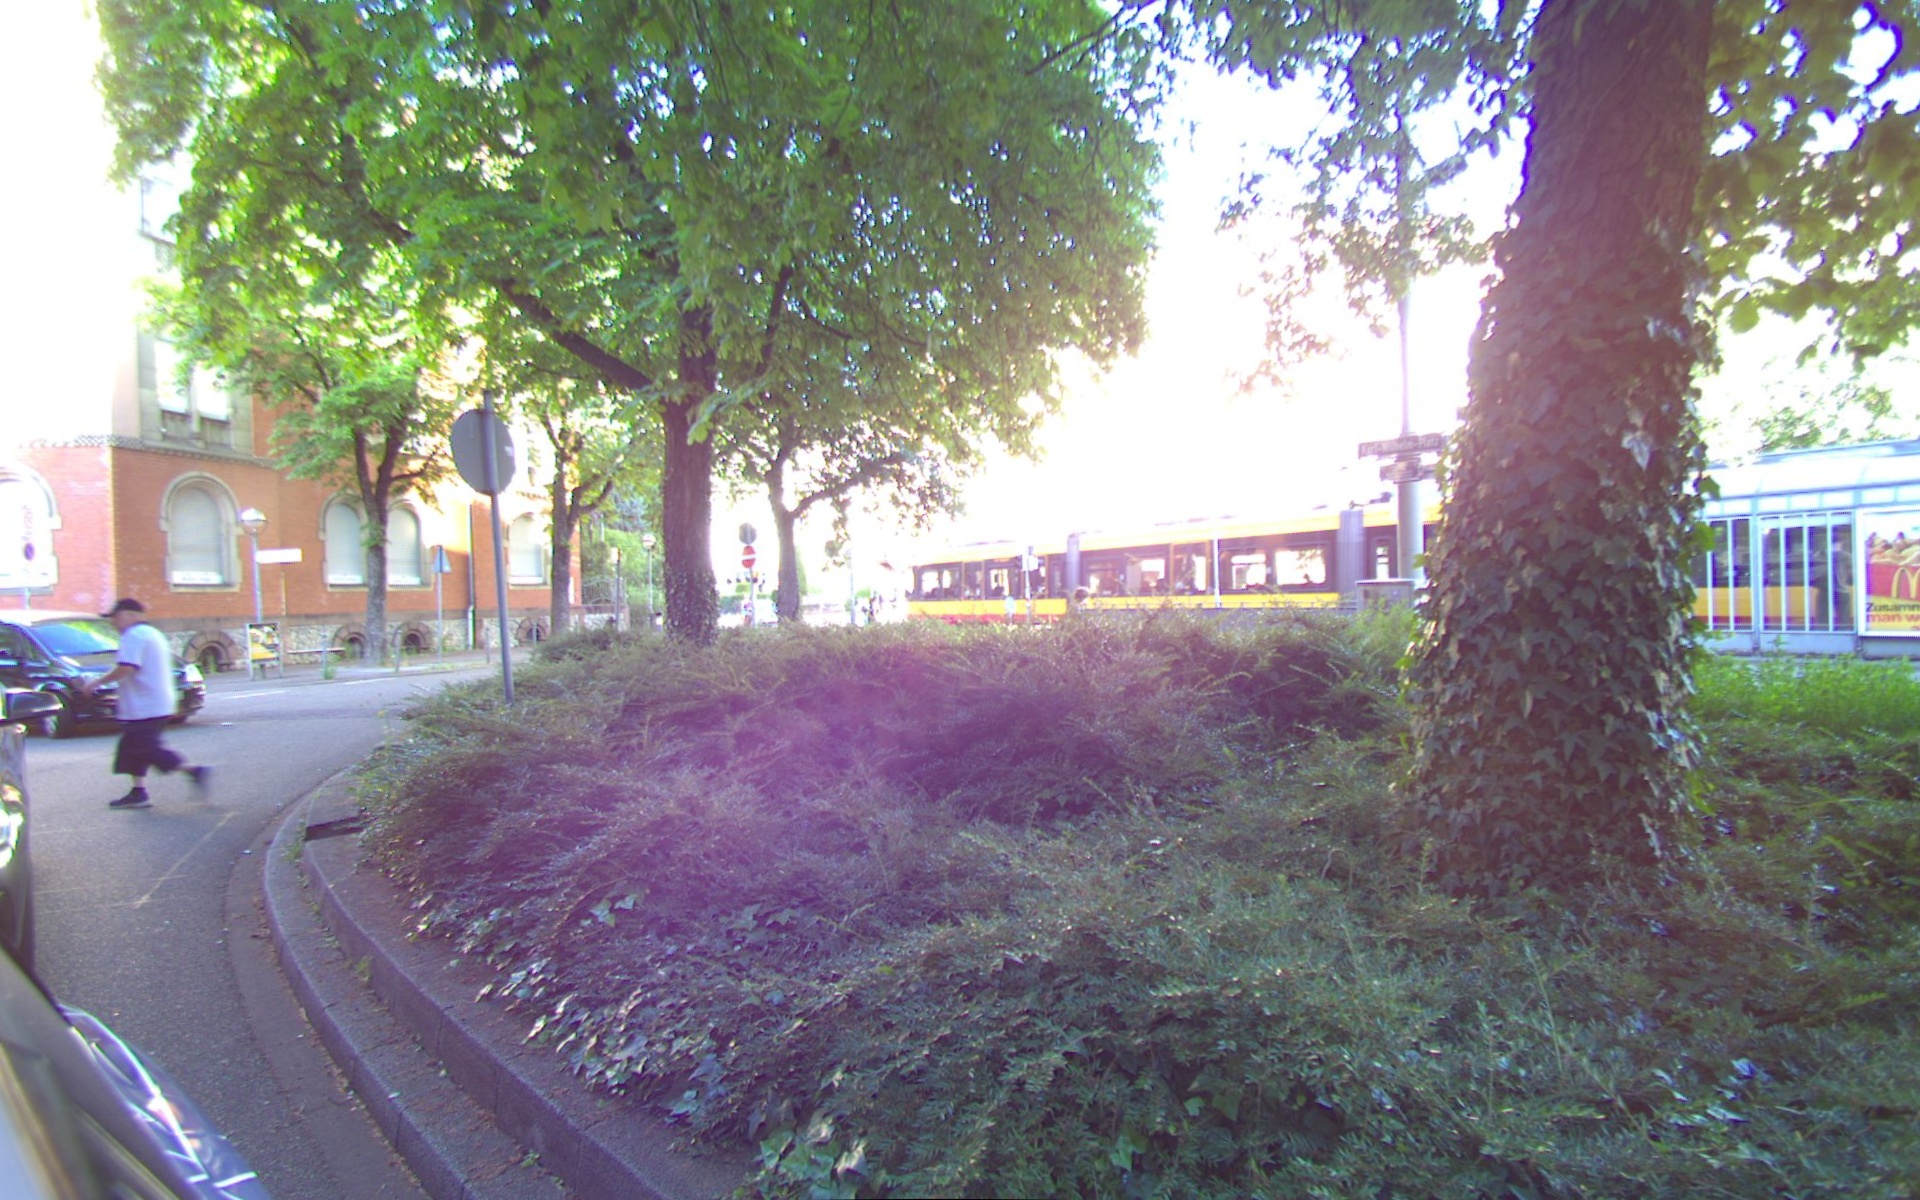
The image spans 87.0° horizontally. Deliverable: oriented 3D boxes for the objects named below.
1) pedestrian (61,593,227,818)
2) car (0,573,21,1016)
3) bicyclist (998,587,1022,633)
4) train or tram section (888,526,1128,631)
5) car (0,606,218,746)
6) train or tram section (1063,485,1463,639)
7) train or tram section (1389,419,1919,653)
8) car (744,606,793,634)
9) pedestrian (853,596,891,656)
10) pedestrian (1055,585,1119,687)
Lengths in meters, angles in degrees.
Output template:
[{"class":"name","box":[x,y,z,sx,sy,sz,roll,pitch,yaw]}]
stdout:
[{"class":"pedestrian","box":[-6.309,0.761,7.832,0.930,1.604,0.643,-2,0,-42]},{"class":"car","box":[-5.515,0.750,4.611,1.768,1.590,4.264,-1,-1,-43]},{"class":"bicyclist","box":[1.760,0.345,35.832,0.588,1.585,0.557,-2,0,-30]},{"class":"train or tram section","box":[1.369,-0.687,40.371,2.727,3.584,12.718,-2,0,-32]},{"class":"car","box":[-12.121,0.979,13.393,3.648,1.640,1.675,-2,0,11]},{"class":"train or tram section","box":[7.990,-0.851,29.681,2.739,3.614,12.456,-2,0,-32]},{"class":"train or tram section","box":[14.381,-1.001,19.377,2.753,3.647,11.835,-2,0,-32]},{"class":"car","box":[-10.565,1.065,55.598,1.707,1.428,4.013,-2,0,-25]},{"class":"pedestrian","box":[-2.546,0.753,29.459,0.719,1.647,0.900,-3,1,18]},{"class":"pedestrian","box":[1.900,0.523,15.134,0.698,1.454,0.602,-2,0,-25]}]
